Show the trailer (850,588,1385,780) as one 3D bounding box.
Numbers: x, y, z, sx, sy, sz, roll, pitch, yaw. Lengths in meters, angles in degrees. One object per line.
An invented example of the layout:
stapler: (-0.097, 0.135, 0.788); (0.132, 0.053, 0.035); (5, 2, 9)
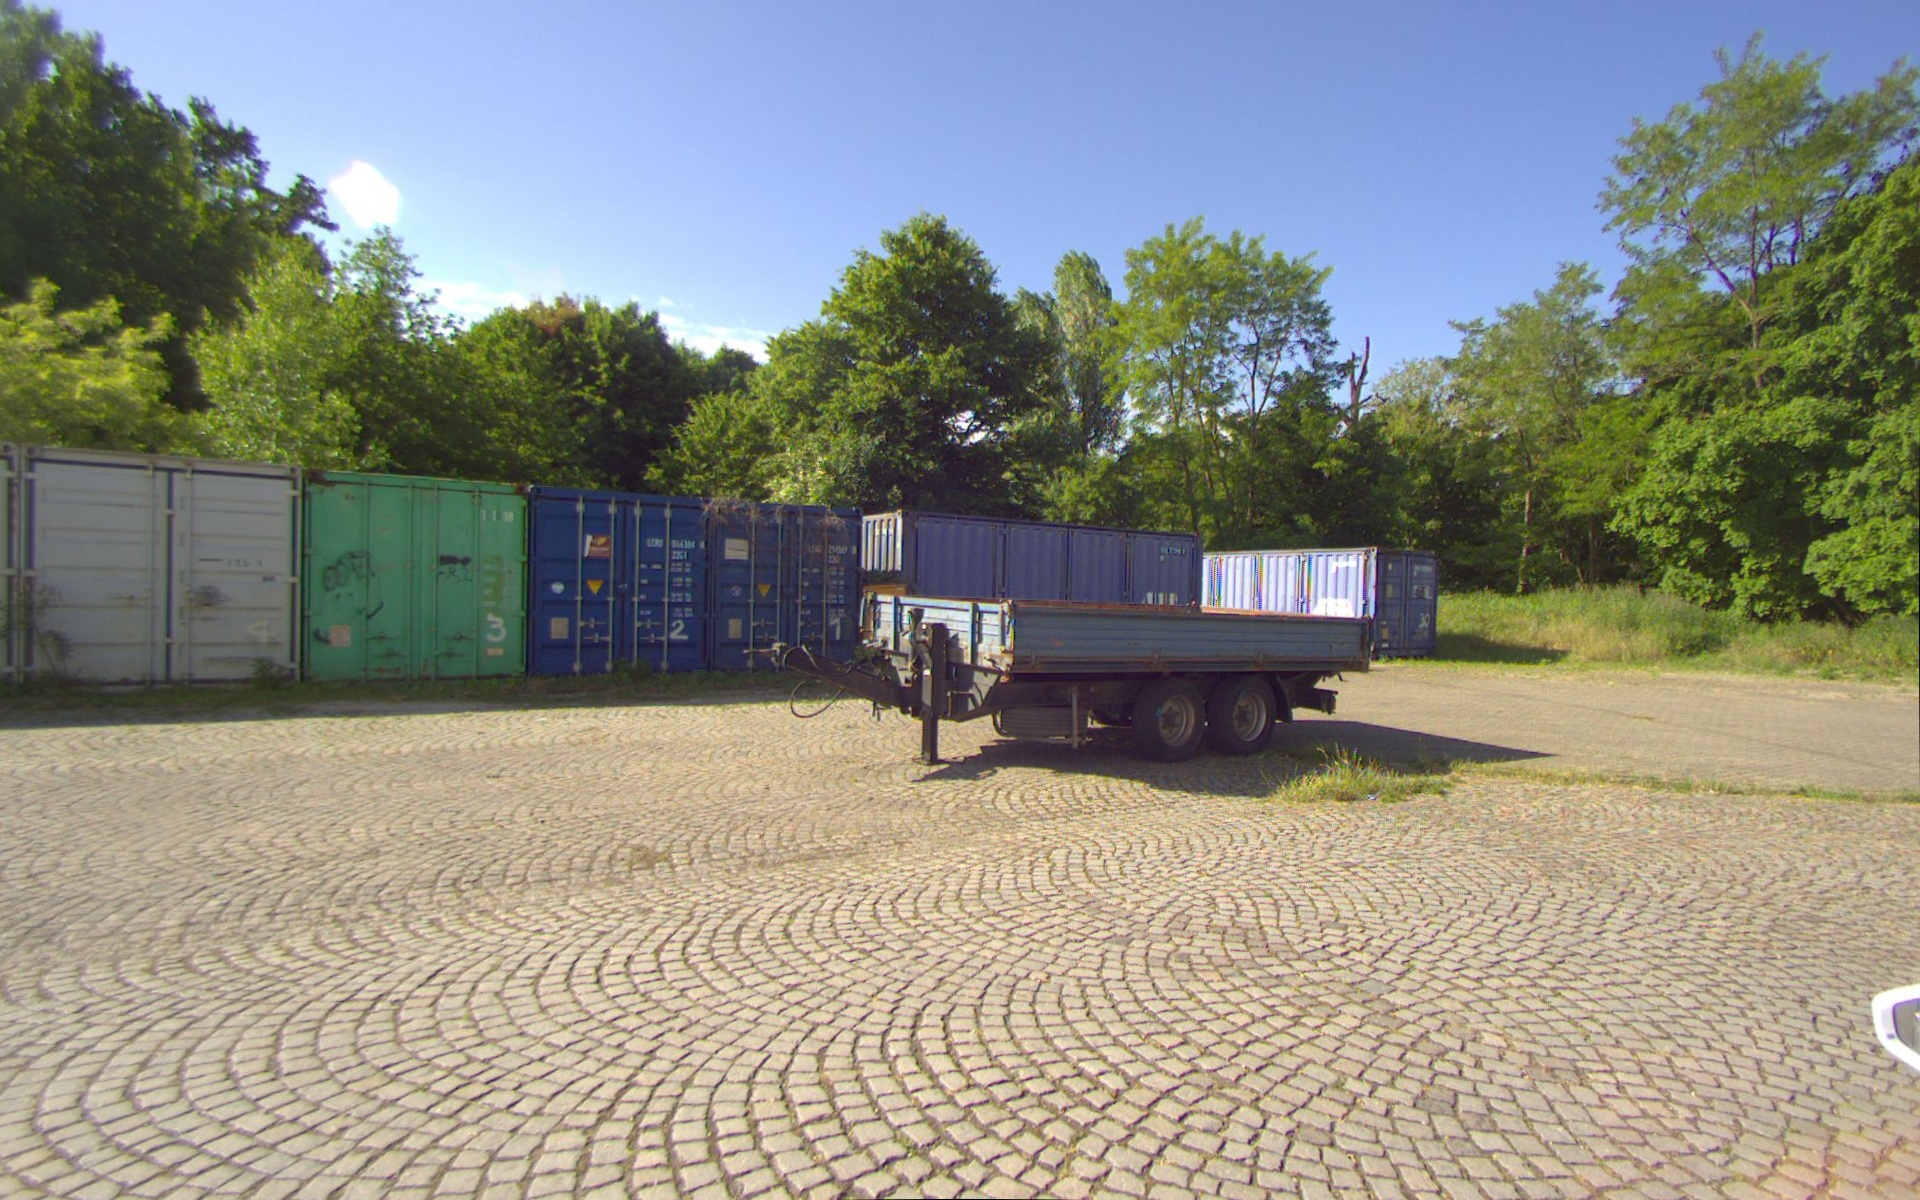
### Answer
trailer: (1.634, 0.702, 10.171); (4.808, 1.433, 2.626); (2, 1, -32)
